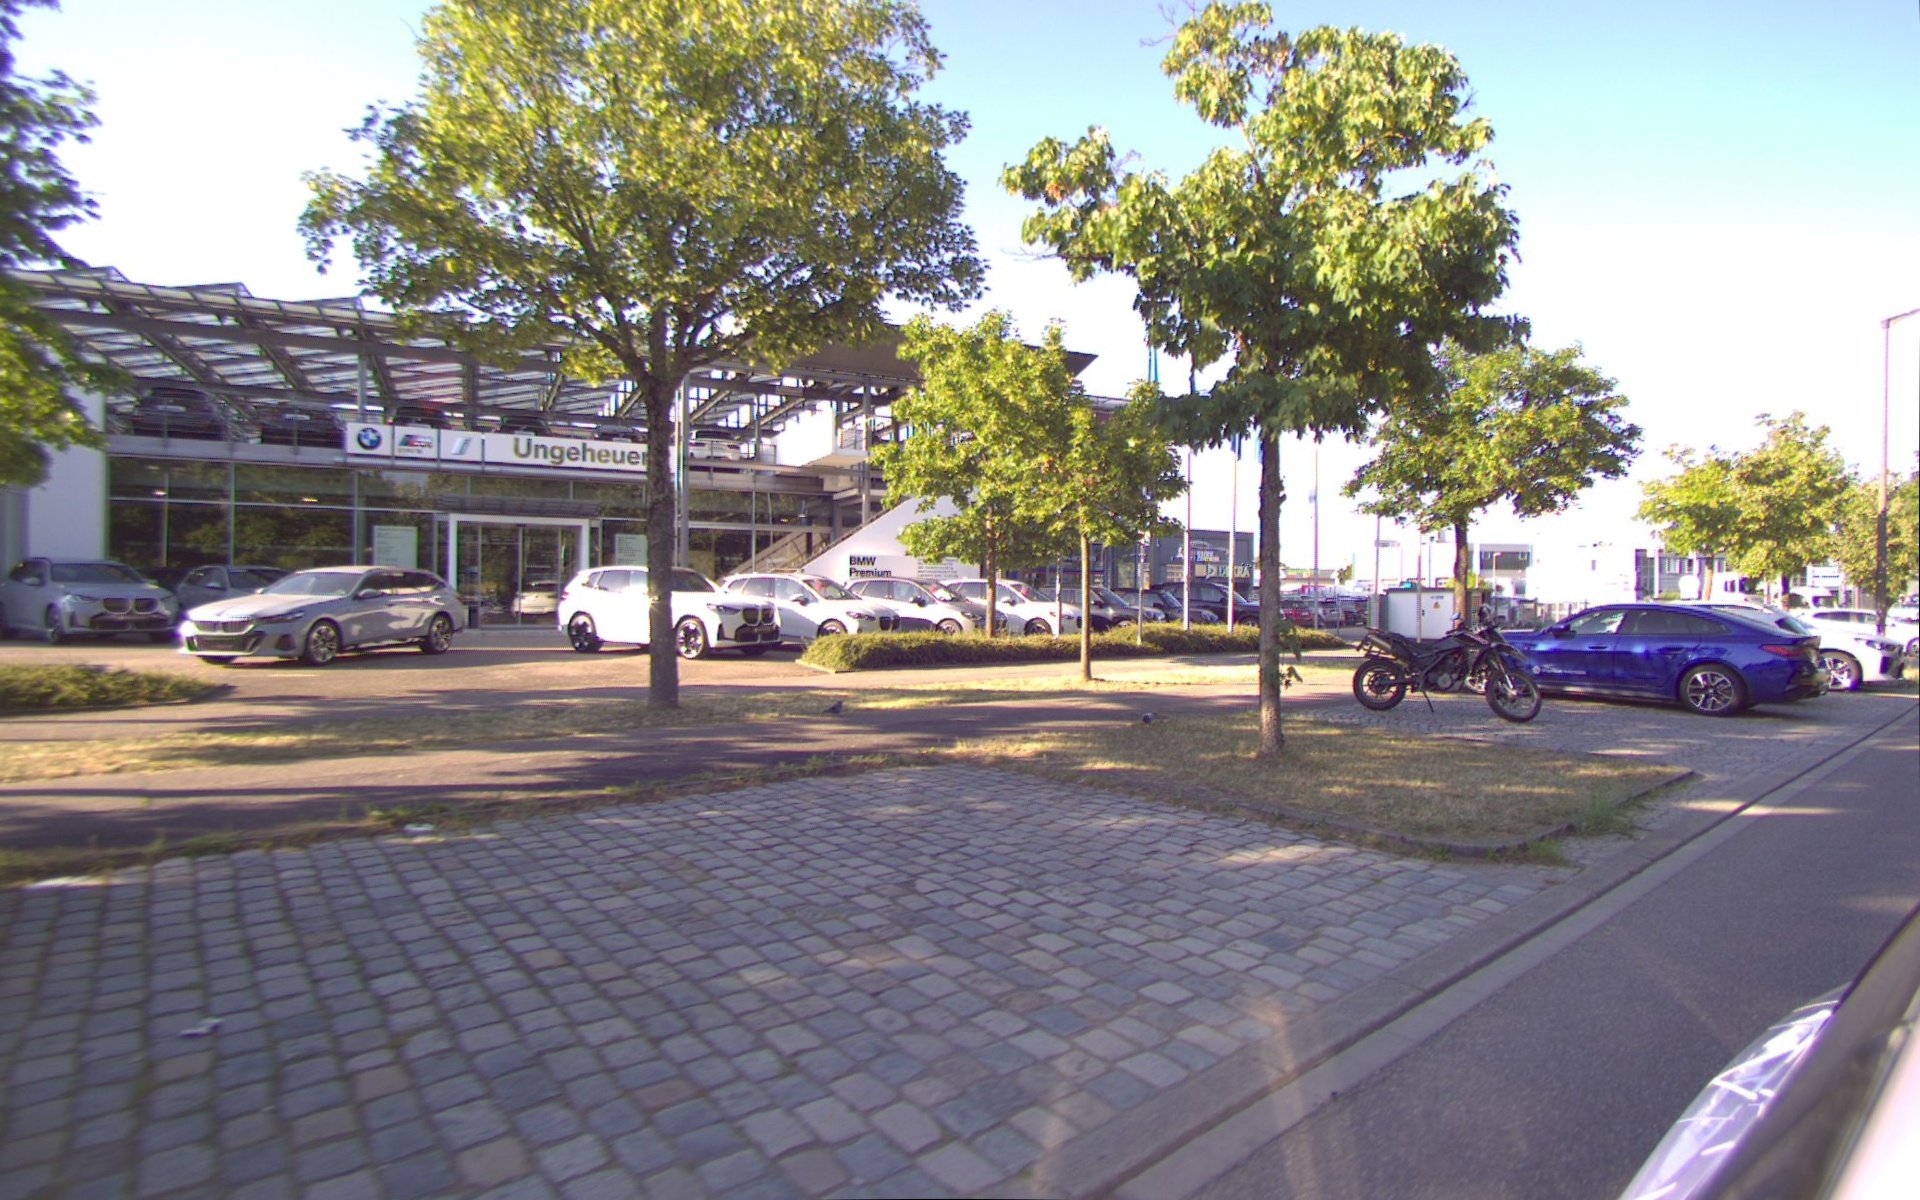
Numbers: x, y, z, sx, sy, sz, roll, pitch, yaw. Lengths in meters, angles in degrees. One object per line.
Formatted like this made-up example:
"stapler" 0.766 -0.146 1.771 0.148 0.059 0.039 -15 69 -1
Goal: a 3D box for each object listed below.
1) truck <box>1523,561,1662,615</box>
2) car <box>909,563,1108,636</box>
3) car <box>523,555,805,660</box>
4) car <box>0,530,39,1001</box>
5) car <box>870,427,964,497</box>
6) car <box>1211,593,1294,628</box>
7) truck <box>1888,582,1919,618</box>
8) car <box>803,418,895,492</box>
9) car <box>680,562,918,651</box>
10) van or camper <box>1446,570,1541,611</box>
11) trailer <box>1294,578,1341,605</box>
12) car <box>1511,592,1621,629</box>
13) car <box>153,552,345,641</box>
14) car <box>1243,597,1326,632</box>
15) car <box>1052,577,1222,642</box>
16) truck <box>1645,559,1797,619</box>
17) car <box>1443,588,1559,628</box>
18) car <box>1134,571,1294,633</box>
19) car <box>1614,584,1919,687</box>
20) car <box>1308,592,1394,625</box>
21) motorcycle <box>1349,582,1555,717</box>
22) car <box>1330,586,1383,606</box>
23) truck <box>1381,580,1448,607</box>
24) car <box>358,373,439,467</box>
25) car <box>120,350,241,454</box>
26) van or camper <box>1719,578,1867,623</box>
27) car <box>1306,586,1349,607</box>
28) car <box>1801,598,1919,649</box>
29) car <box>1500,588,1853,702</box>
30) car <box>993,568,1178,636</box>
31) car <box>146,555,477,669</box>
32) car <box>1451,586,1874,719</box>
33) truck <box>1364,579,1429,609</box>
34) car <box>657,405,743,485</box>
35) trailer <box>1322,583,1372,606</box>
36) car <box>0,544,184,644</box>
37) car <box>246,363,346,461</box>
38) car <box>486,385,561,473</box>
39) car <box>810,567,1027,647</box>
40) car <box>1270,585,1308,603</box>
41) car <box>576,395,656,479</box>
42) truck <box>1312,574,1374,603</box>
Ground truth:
"truck" 46.835 -0.893 75.500 3.229 3.690 10.131 1 0 -6
"car" 1.173 -0.062 25.263 4.568 1.593 1.978 2 1 31
"car" -5.578 0.074 19.159 4.676 1.711 2.393 2 1 23
"car" -3.738 0.528 2.522 1.965 1.498 4.704 1 1 -41
"car" -1.563 -4.731 35.304 1.751 1.688 4.004 1 -3 -28
"car" 14.676 0.502 51.056 1.958 1.598 4.008 -2 1 -22
"truck" 75.454 0.029 78.837 5.847 2.754 2.551 1 0 -24
"car" -3.771 -4.777 33.853 1.751 1.688 4.004 1 -3 -28
"car" -3.353 0.083 21.130 4.553 1.593 1.985 2 1 23
"van or camper" 45.979 -0.834 87.541 2.364 3.371 8.155 1 0 -14
"trailer" 41.615 -0.993 117.768 4.758 3.108 2.003 1 0 -9
"car" 28.076 0.463 46.996 1.958 1.598 4.008 1 0 -22
"car" -16.057 -0.111 22.784 4.756 1.796 1.976 1 0 34
"car" 16.620 0.703 51.983 1.958 1.598 4.008 -2 1 -22
"car" 5.156 0.244 29.481 4.553 1.687 1.985 2 0 23
"truck" 48.705 -0.702 65.173 3.053 3.566 8.261 1 0 -5
"car" 22.668 0.317 42.564 1.958 1.598 4.008 1 0 -22
"car" 7.900 0.025 31.463 4.555 1.687 1.984 2 1 24
"car" 15.296 0.575 19.114 1.967 1.604 4.596 1 2 -43
"car" 20.760 0.403 53.872 2.116 1.598 4.008 -2 1 -22
"motorcycle" 5.932 0.541 12.243 2.116 1.484 0.938 1 0 34
"car" 42.423 -0.408 108.378 4.946 2.039 2.004 1 0 -11
"truck" 52.057 -0.786 115.865 6.967 2.943 2.003 1 0 -9
"car" -15.585 -4.937 28.251 1.750 1.688 4.004 1 -3 -26
"car" -19.970 -4.999 26.110 1.751 1.688 4.004 1 -3 -28
"van or camper" 58.167 -0.030 70.990 2.882 2.936 8.025 1 0 -10
"car" 41.498 -0.384 114.346 3.917 2.306 2.092 1 0 -9
"car" 29.853 0.749 32.452 2.052 1.462 4.205 1 2 -42
"car" 11.621 0.623 16.670 1.965 1.498 4.385 1 1 -41
"car" 3.372 0.012 27.134 4.553 1.593 1.985 2 1 23
"car" -10.511 0.145 17.046 1.964 1.591 5.185 1 0 5
"car" 9.851 0.613 14.530 1.965 1.474 4.634 1 1 -41
"truck" 51.184 -0.723 118.756 6.967 3.393 2.003 1 0 -9
"car" -8.282 -4.825 32.037 1.751 1.688 4.004 1 -3 -28
"trailer" 42.910 -0.647 112.254 4.758 2.467 2.003 1 0 -9
"car" -17.743 -0.143 20.349 4.756 1.796 1.976 1 0 34
"car" -17.794 -4.963 27.301 1.750 1.688 4.004 1 -3 -26
"car" -12.821 -4.899 29.578 1.750 1.688 4.004 1 -3 -27
"car" -0.949 0.105 23.130 4.553 1.593 1.985 2 1 23
"car" 40.218 -0.729 123.772 3.917 2.039 2.003 1 0 -10
"car" -10.506 -4.866 30.721 1.750 1.688 4.004 1 -3 -27
"truck" 48.472 -1.451 128.149 6.967 3.620 2.681 1 0 -9
